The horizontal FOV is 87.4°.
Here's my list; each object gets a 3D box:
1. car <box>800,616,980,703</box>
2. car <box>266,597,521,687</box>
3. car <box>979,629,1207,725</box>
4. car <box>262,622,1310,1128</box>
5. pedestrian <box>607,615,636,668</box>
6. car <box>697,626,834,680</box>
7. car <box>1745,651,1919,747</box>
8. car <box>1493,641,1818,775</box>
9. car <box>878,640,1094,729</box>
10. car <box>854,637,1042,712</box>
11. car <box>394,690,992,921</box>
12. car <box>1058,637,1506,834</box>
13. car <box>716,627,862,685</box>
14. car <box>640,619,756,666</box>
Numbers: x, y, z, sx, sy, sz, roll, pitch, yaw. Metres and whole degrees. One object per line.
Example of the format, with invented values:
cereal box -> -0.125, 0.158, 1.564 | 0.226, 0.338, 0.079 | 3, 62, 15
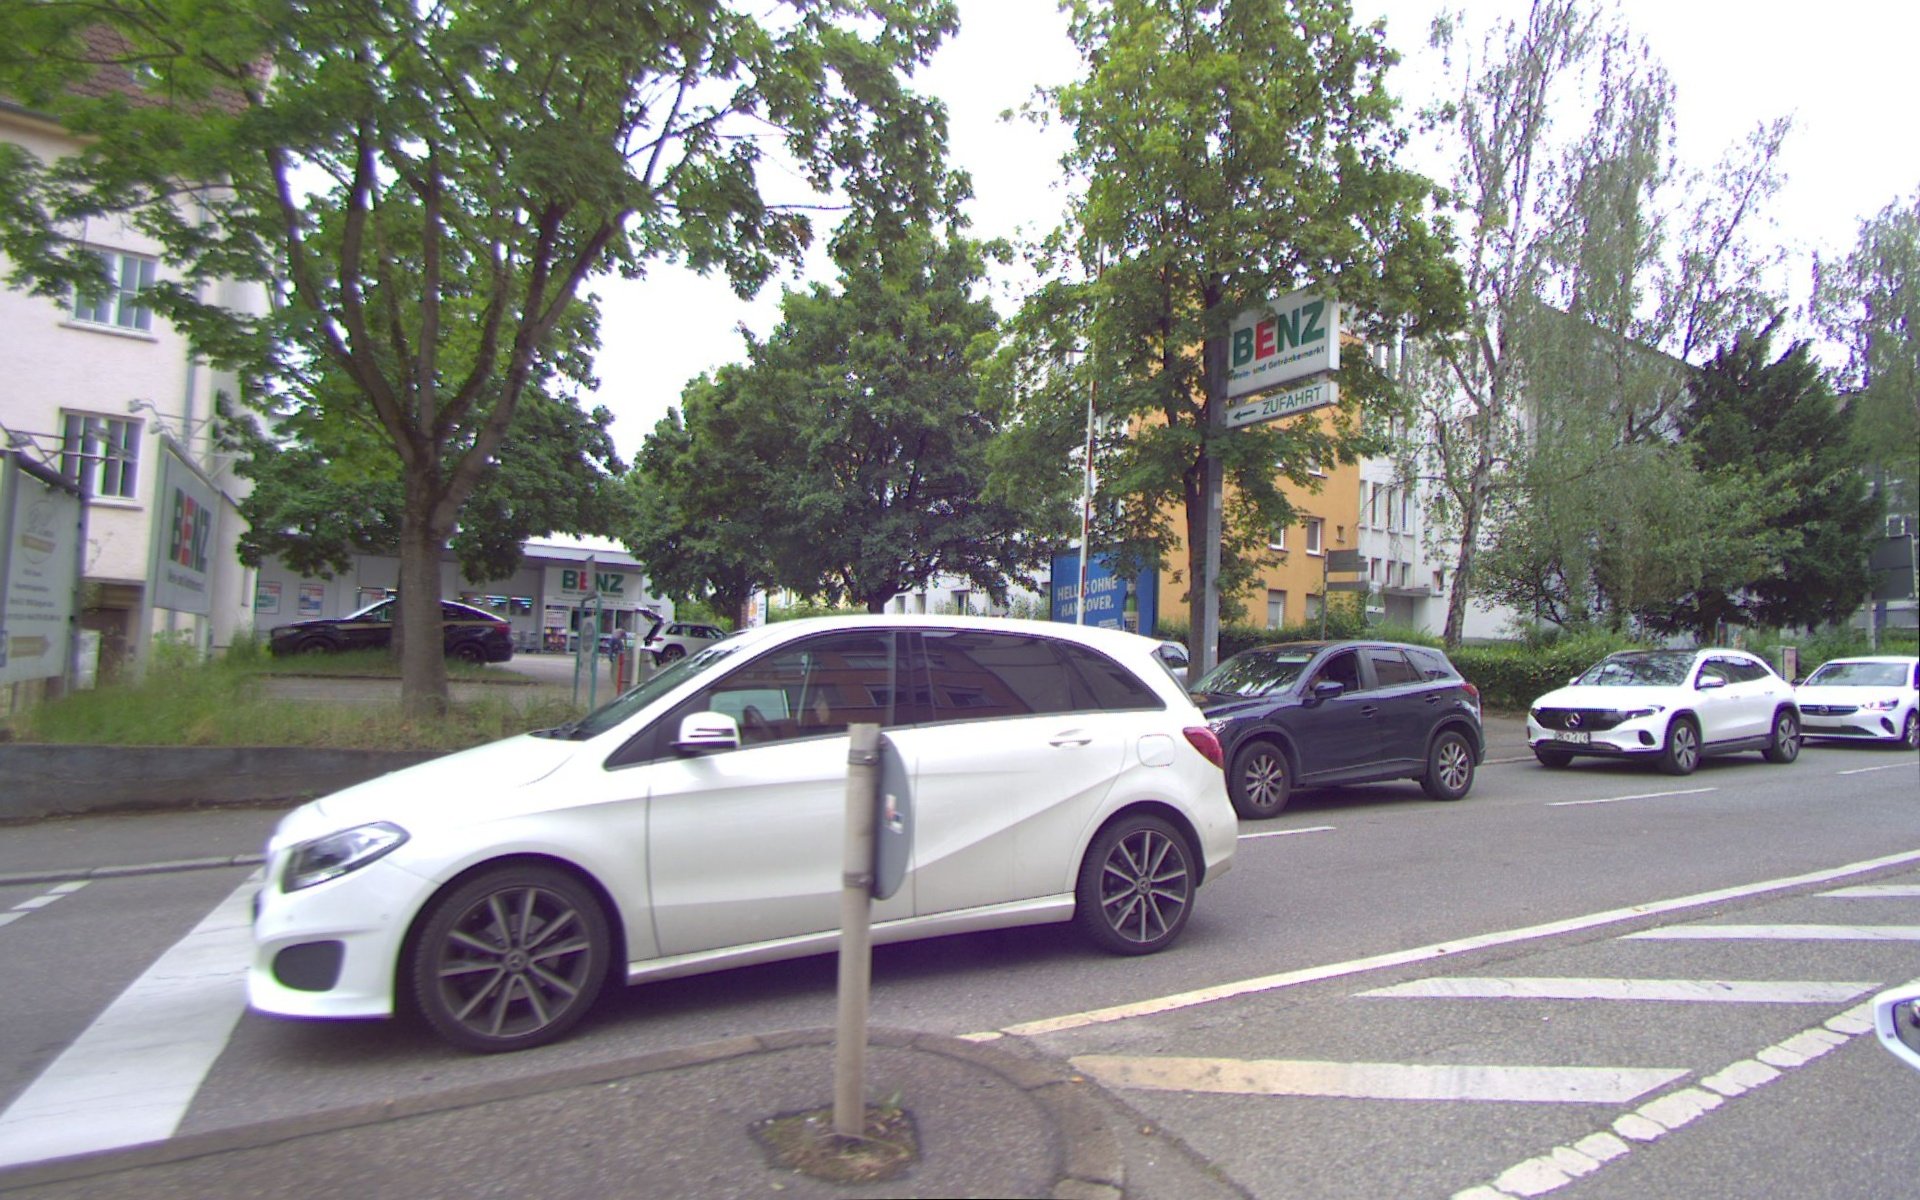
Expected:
car -> -1.683, 1.387, 24.349 | 3.952, 1.927, 1.816 | 1, 0, -30
car -> -12.806, 0.927, 22.839 | 4.861, 1.827, 2.046 | 1, -2, -36
car -> 2.477, 1.331, 18.427 | 3.955, 1.521, 1.698 | 1, 0, -32
car -> -0.601, 0.948, 4.868 | 4.266, 1.566, 1.772 | 1, -5, -25
pedestrian -> -12.781, 1.561, 37.887 | 0.818, 1.976, 0.700 | 1, -1, -39
car -> -6.208, 1.664, 32.138 | 3.887, 1.630, 1.907 | 1, -2, -32
car -> 15.361, 1.608, 16.995 | 4.025, 1.430, 1.832 | 1, -5, -30
car -> 9.891, 1.449, 14.251 | 4.442, 1.614, 1.944 | 1, -5, -29
car -> 0.524, 1.603, 19.898 | 3.948, 1.521, 1.701 | 1, 0, -27
car -> -0.223, 1.598, 22.452 | 3.962, 1.429, 1.695 | 1, 0, -36
car -> -2.015, 1.432, 7.974 | 4.180, 1.297, 1.797 | 1, -5, -26
car -> 3.401, 1.278, 10.519 | 4.358, 1.663, 1.945 | 1, -5, -28
car -> -5.091, 1.629, 30.053 | 3.887, 1.630, 1.907 | 1, -2, -32
car -> -9.920, 1.597, 38.132 | 3.887, 1.695, 1.907 | 1, -2, -32
